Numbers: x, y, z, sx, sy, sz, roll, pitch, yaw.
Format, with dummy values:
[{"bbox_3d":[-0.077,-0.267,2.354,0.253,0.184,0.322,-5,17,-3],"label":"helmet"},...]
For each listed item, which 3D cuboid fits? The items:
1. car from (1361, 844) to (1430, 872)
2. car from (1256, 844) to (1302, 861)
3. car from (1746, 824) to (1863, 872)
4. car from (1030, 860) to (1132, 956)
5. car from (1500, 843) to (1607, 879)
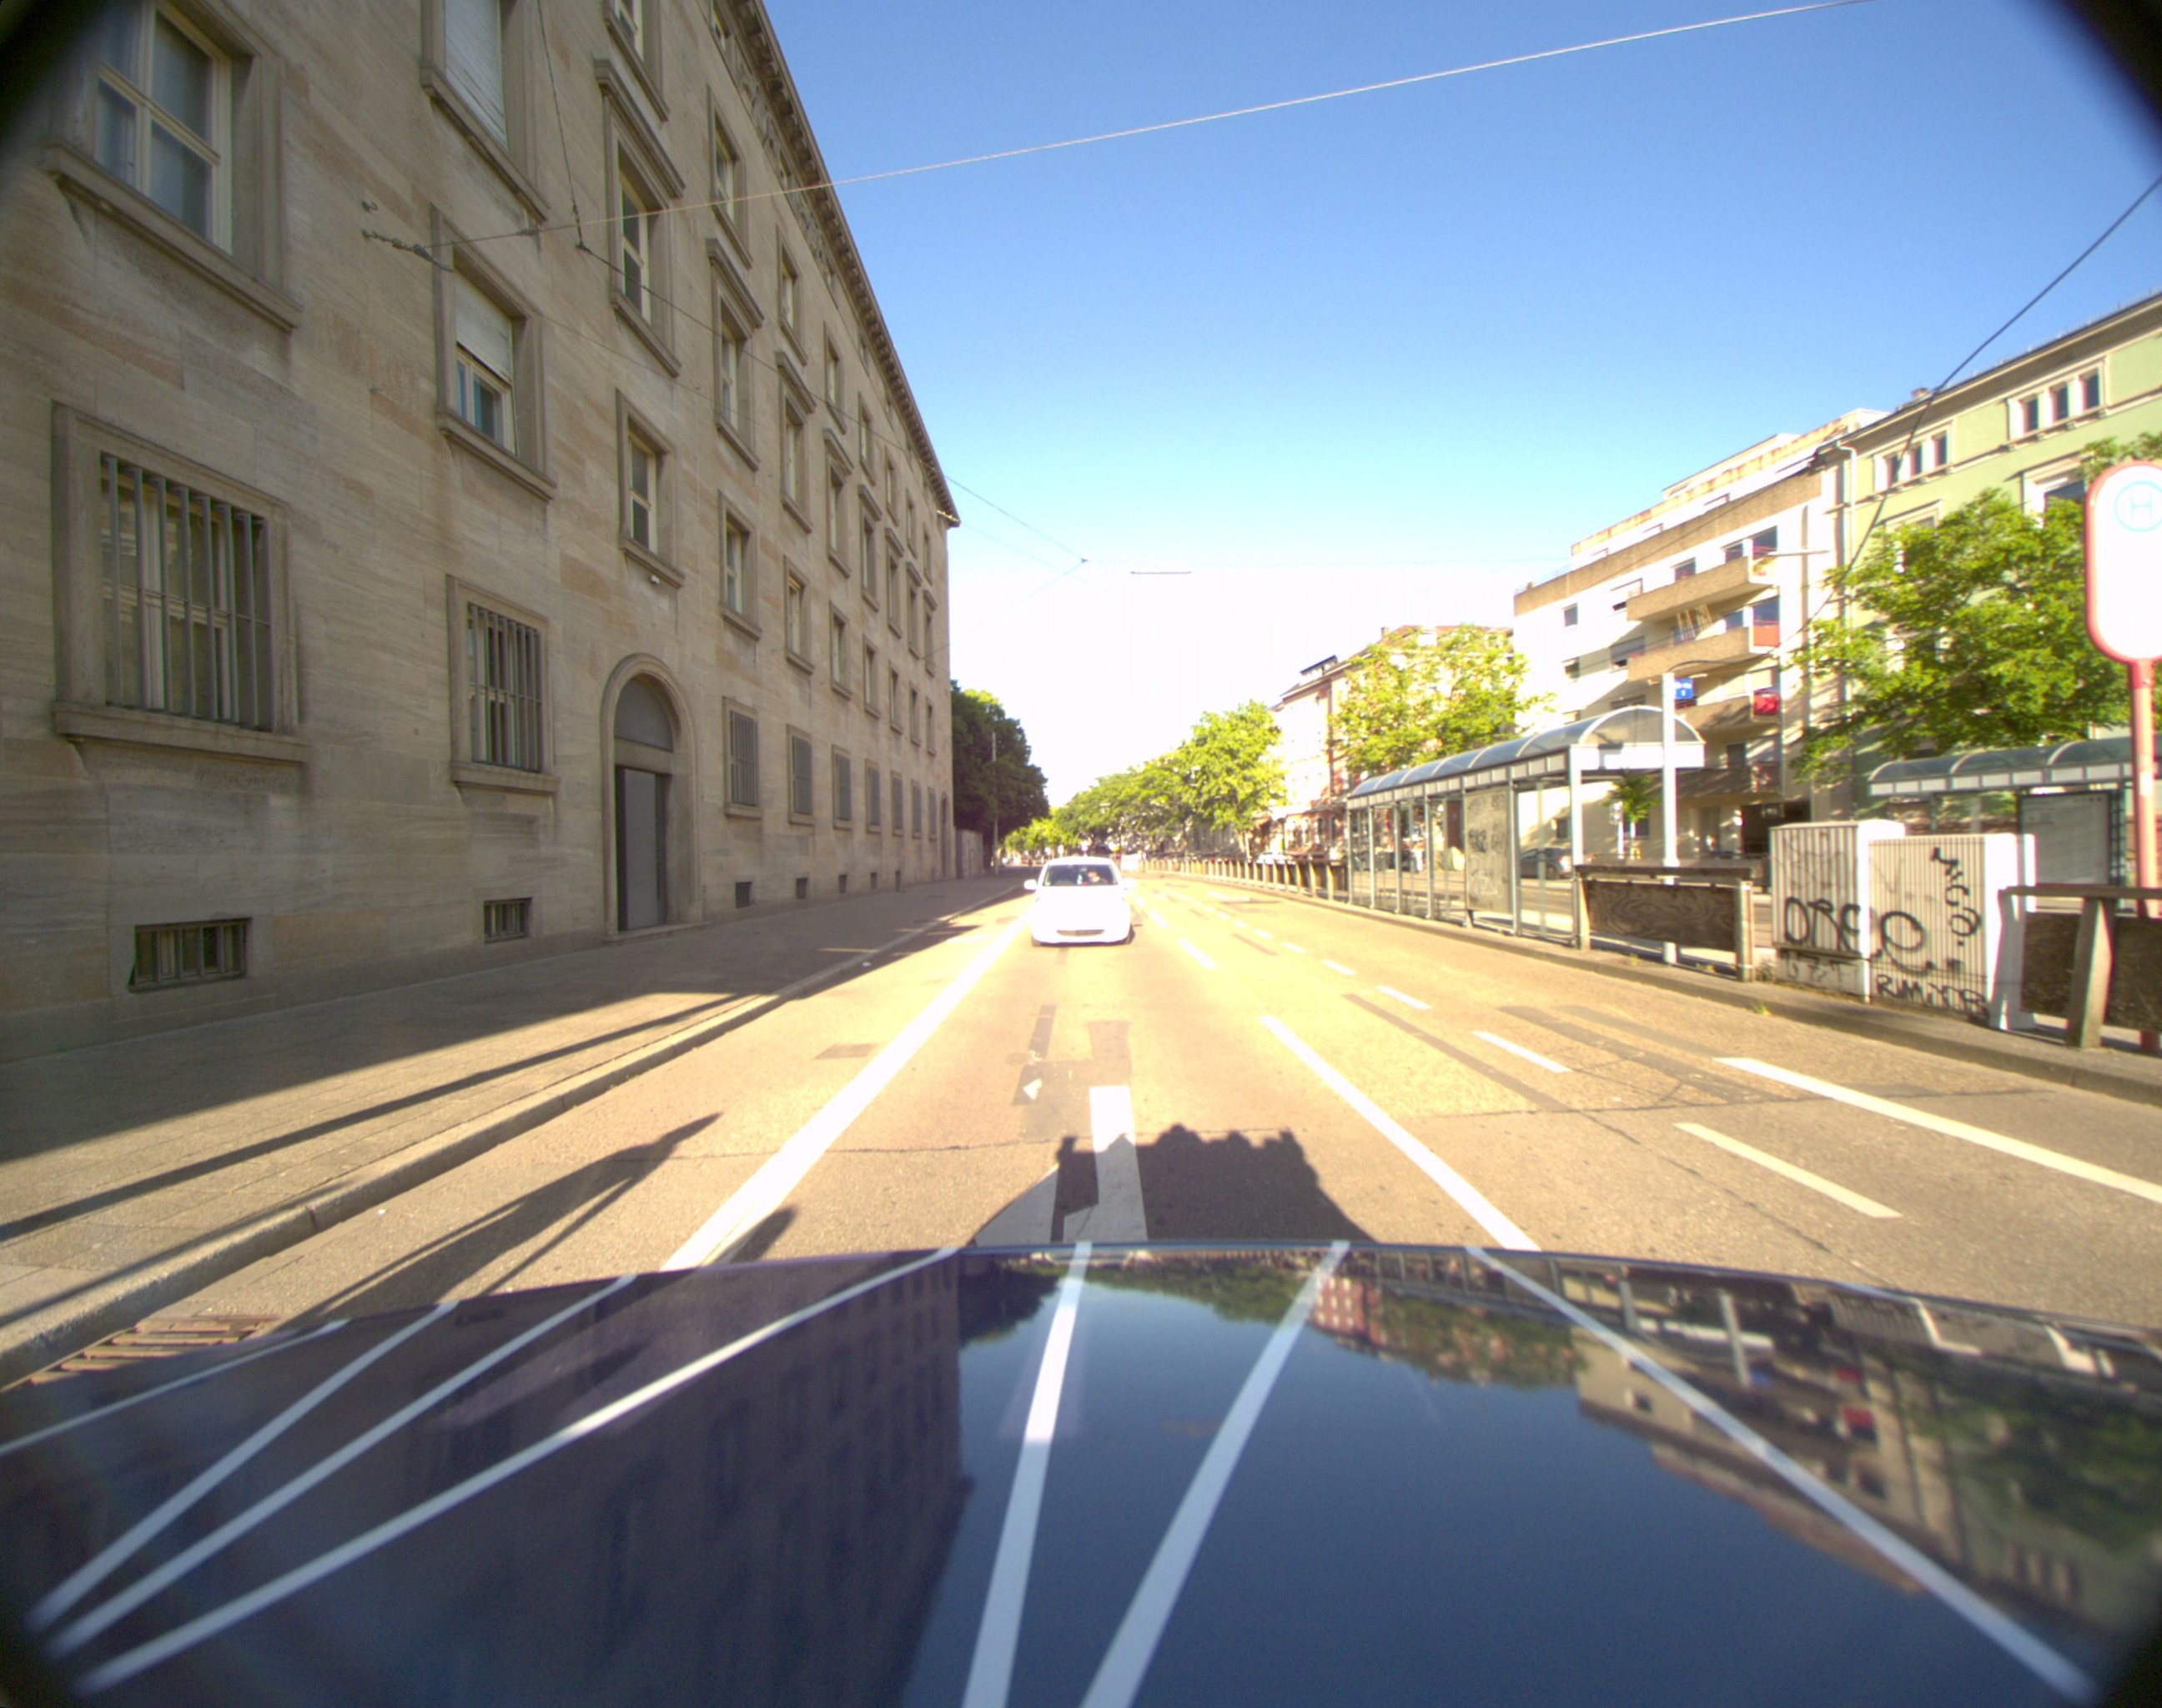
[{"bbox_3d":[18.453,0.227,44.748,2.000,1.521,3.997,-1,0,-8],"label":"car"},{"bbox_3d":[16.477,-0.129,63.281,3.648,1.342,1.578,-2,1,-29],"label":"car"},{"bbox_3d":[31.594,-0.268,33.201,4.001,2.002,1.798,-1,1,-13],"label":"car"},{"bbox_3d":[0.026,0.874,13.913,1.606,1.455,3.621,-1,0,1],"label":"car"},{"bbox_3d":[21.084,0.286,34.125,2.000,1.521,3.997,-1,0,-8],"label":"car"}]
